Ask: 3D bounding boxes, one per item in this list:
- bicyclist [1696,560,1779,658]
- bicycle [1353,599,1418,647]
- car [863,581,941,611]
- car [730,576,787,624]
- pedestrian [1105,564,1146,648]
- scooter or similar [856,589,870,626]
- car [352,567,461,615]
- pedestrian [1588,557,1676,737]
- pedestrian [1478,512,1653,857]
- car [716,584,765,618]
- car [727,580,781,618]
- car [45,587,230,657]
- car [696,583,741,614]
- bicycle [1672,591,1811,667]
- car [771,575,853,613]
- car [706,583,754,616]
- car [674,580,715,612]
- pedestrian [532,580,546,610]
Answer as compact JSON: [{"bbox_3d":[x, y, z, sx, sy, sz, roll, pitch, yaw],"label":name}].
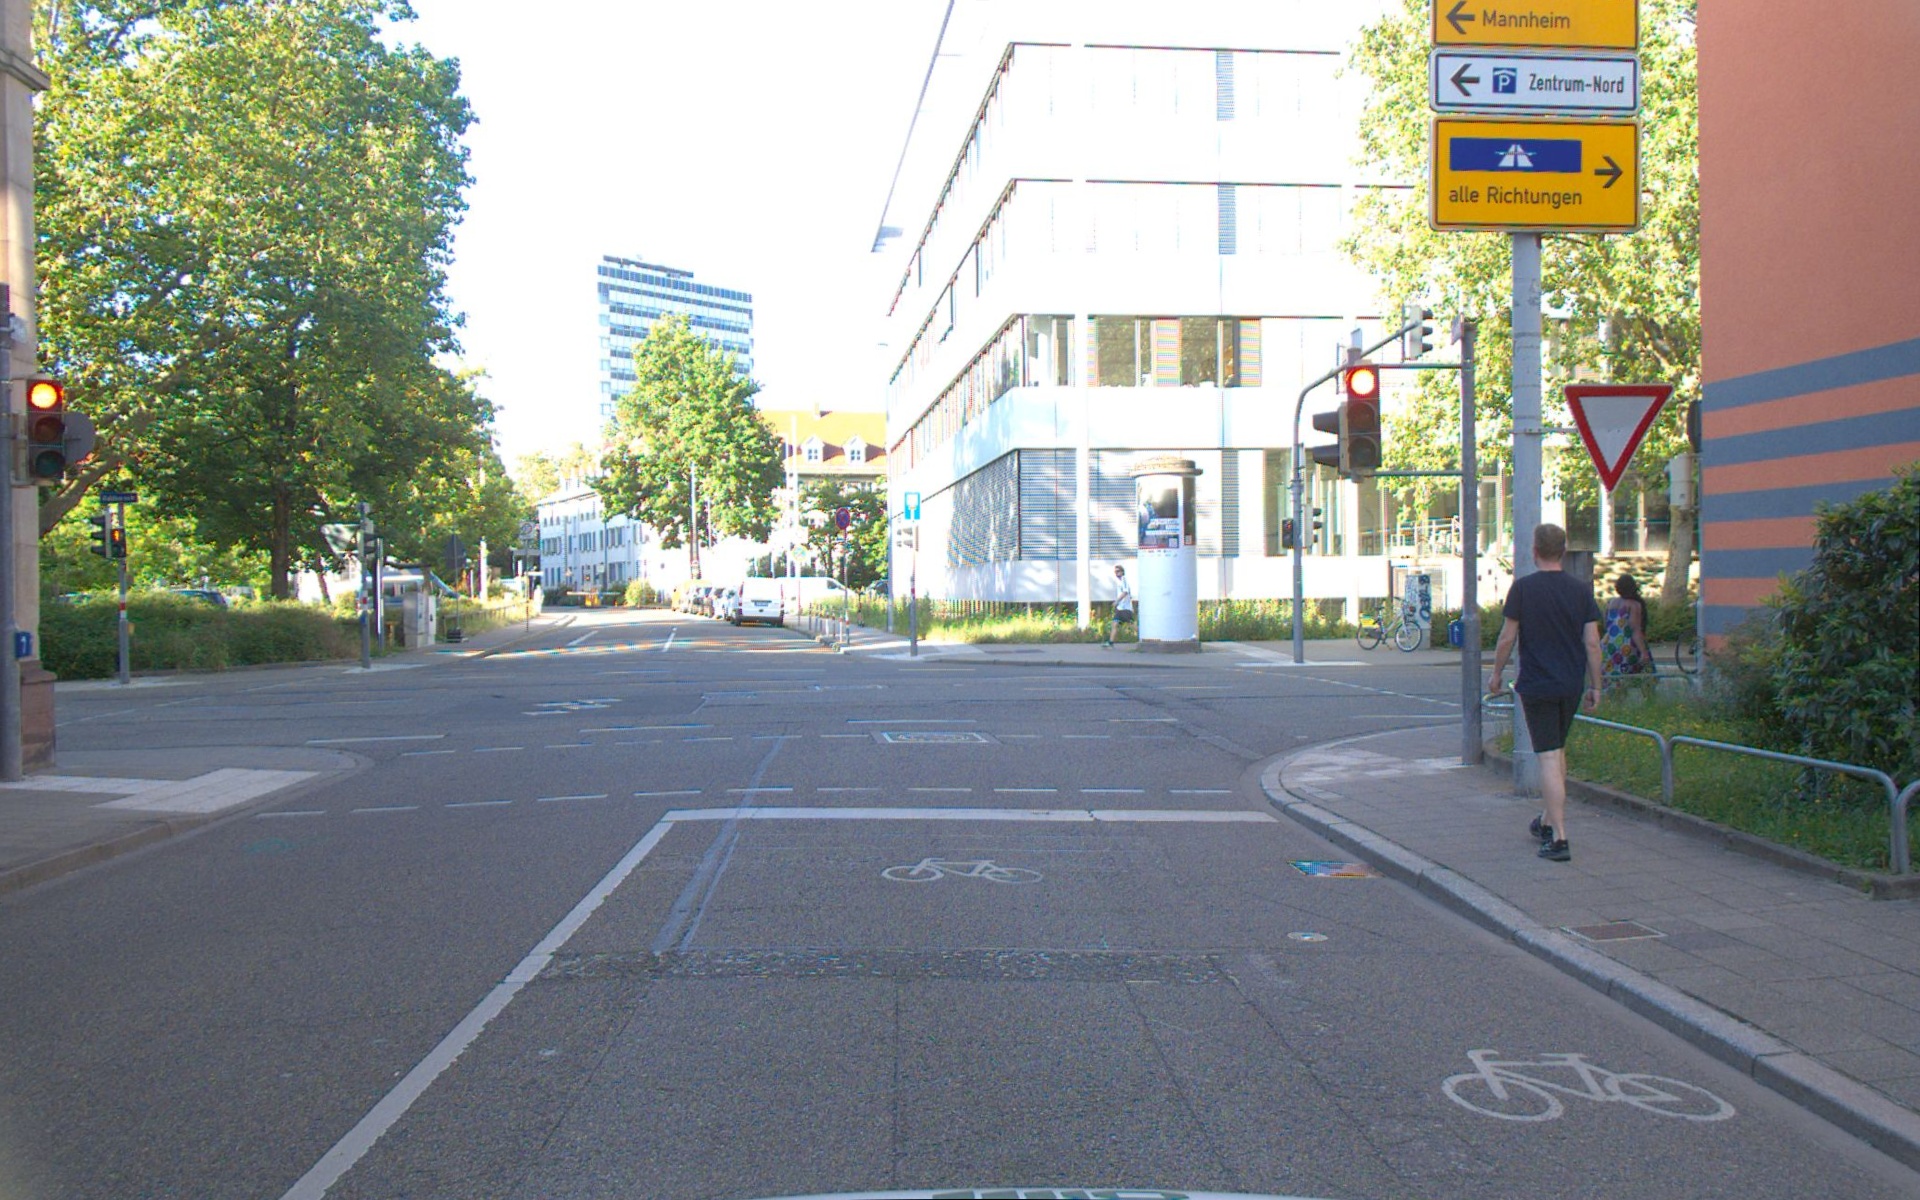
[{"bbox_3d":[12.470,0.141,26.532,1.052,1.554,0.593,-1,0,5],"label":"bicyclist"},{"bbox_3d":[9.326,0.498,36.277,0.376,1.026,1.410,-1,0,-42],"label":"bicycle"},{"bbox_3d":[-3.672,-0.251,104.717,4.563,1.755,1.991,1,0,-17],"label":"car"},{"bbox_3d":[-7.913,0.007,64.697,1.957,1.755,4.641,1,0,-10],"label":"car"},{"bbox_3d":[3.785,0.135,37.955,0.895,1.901,0.743,1,-1,5],"label":"pedestrian"},{"bbox_3d":[-3.425,0.258,58.230,0.429,1.278,1.418,-1,0,-5],"label":"scooter or similar"},{"bbox_3d":[-24.959,-0.392,74.676,4.363,2.049,1.995,1,0,-10],"label":"car"},{"bbox_3d":[7.100,0.481,17.465,0.688,1.842,0.717,1,-1,36],"label":"pedestrian"},{"bbox_3d":[3.363,0.456,9.231,0.685,1.842,0.719,1,-1,-1],"label":"pedestrian"},{"bbox_3d":[-10.191,0.049,76.647,1.958,1.525,4.639,1,0,-11],"label":"car"},{"bbox_3d":[-8.866,-0.028,70.896,1.958,1.525,4.639,1,0,-11],"label":"car"},{"bbox_3d":[-18.364,0.485,37.059,3.347,1.483,1.646,1,0,-11],"label":"car"},{"bbox_3d":[-12.548,-0.061,85.783,1.959,1.525,4.637,1,0,-13],"label":"car"},{"bbox_3d":[12.523,0.462,26.522,1.922,1.172,0.593,-1,0,5],"label":"bicycle"},{"bbox_3d":[-9.197,-0.364,102.791,4.718,2.196,1.990,1,0,-18],"label":"car"},{"bbox_3d":[-11.304,-0.019,81.078,1.959,1.525,4.272,1,0,-13],"label":"car"},{"bbox_3d":[-15.380,-0.222,95.599,1.960,1.755,4.635,1,0,-14],"label":"car"},{"bbox_3d":[-23.255,-0.289,91.346,0.688,1.614,0.634,1,-1,-16],"label":"pedestrian"}]
